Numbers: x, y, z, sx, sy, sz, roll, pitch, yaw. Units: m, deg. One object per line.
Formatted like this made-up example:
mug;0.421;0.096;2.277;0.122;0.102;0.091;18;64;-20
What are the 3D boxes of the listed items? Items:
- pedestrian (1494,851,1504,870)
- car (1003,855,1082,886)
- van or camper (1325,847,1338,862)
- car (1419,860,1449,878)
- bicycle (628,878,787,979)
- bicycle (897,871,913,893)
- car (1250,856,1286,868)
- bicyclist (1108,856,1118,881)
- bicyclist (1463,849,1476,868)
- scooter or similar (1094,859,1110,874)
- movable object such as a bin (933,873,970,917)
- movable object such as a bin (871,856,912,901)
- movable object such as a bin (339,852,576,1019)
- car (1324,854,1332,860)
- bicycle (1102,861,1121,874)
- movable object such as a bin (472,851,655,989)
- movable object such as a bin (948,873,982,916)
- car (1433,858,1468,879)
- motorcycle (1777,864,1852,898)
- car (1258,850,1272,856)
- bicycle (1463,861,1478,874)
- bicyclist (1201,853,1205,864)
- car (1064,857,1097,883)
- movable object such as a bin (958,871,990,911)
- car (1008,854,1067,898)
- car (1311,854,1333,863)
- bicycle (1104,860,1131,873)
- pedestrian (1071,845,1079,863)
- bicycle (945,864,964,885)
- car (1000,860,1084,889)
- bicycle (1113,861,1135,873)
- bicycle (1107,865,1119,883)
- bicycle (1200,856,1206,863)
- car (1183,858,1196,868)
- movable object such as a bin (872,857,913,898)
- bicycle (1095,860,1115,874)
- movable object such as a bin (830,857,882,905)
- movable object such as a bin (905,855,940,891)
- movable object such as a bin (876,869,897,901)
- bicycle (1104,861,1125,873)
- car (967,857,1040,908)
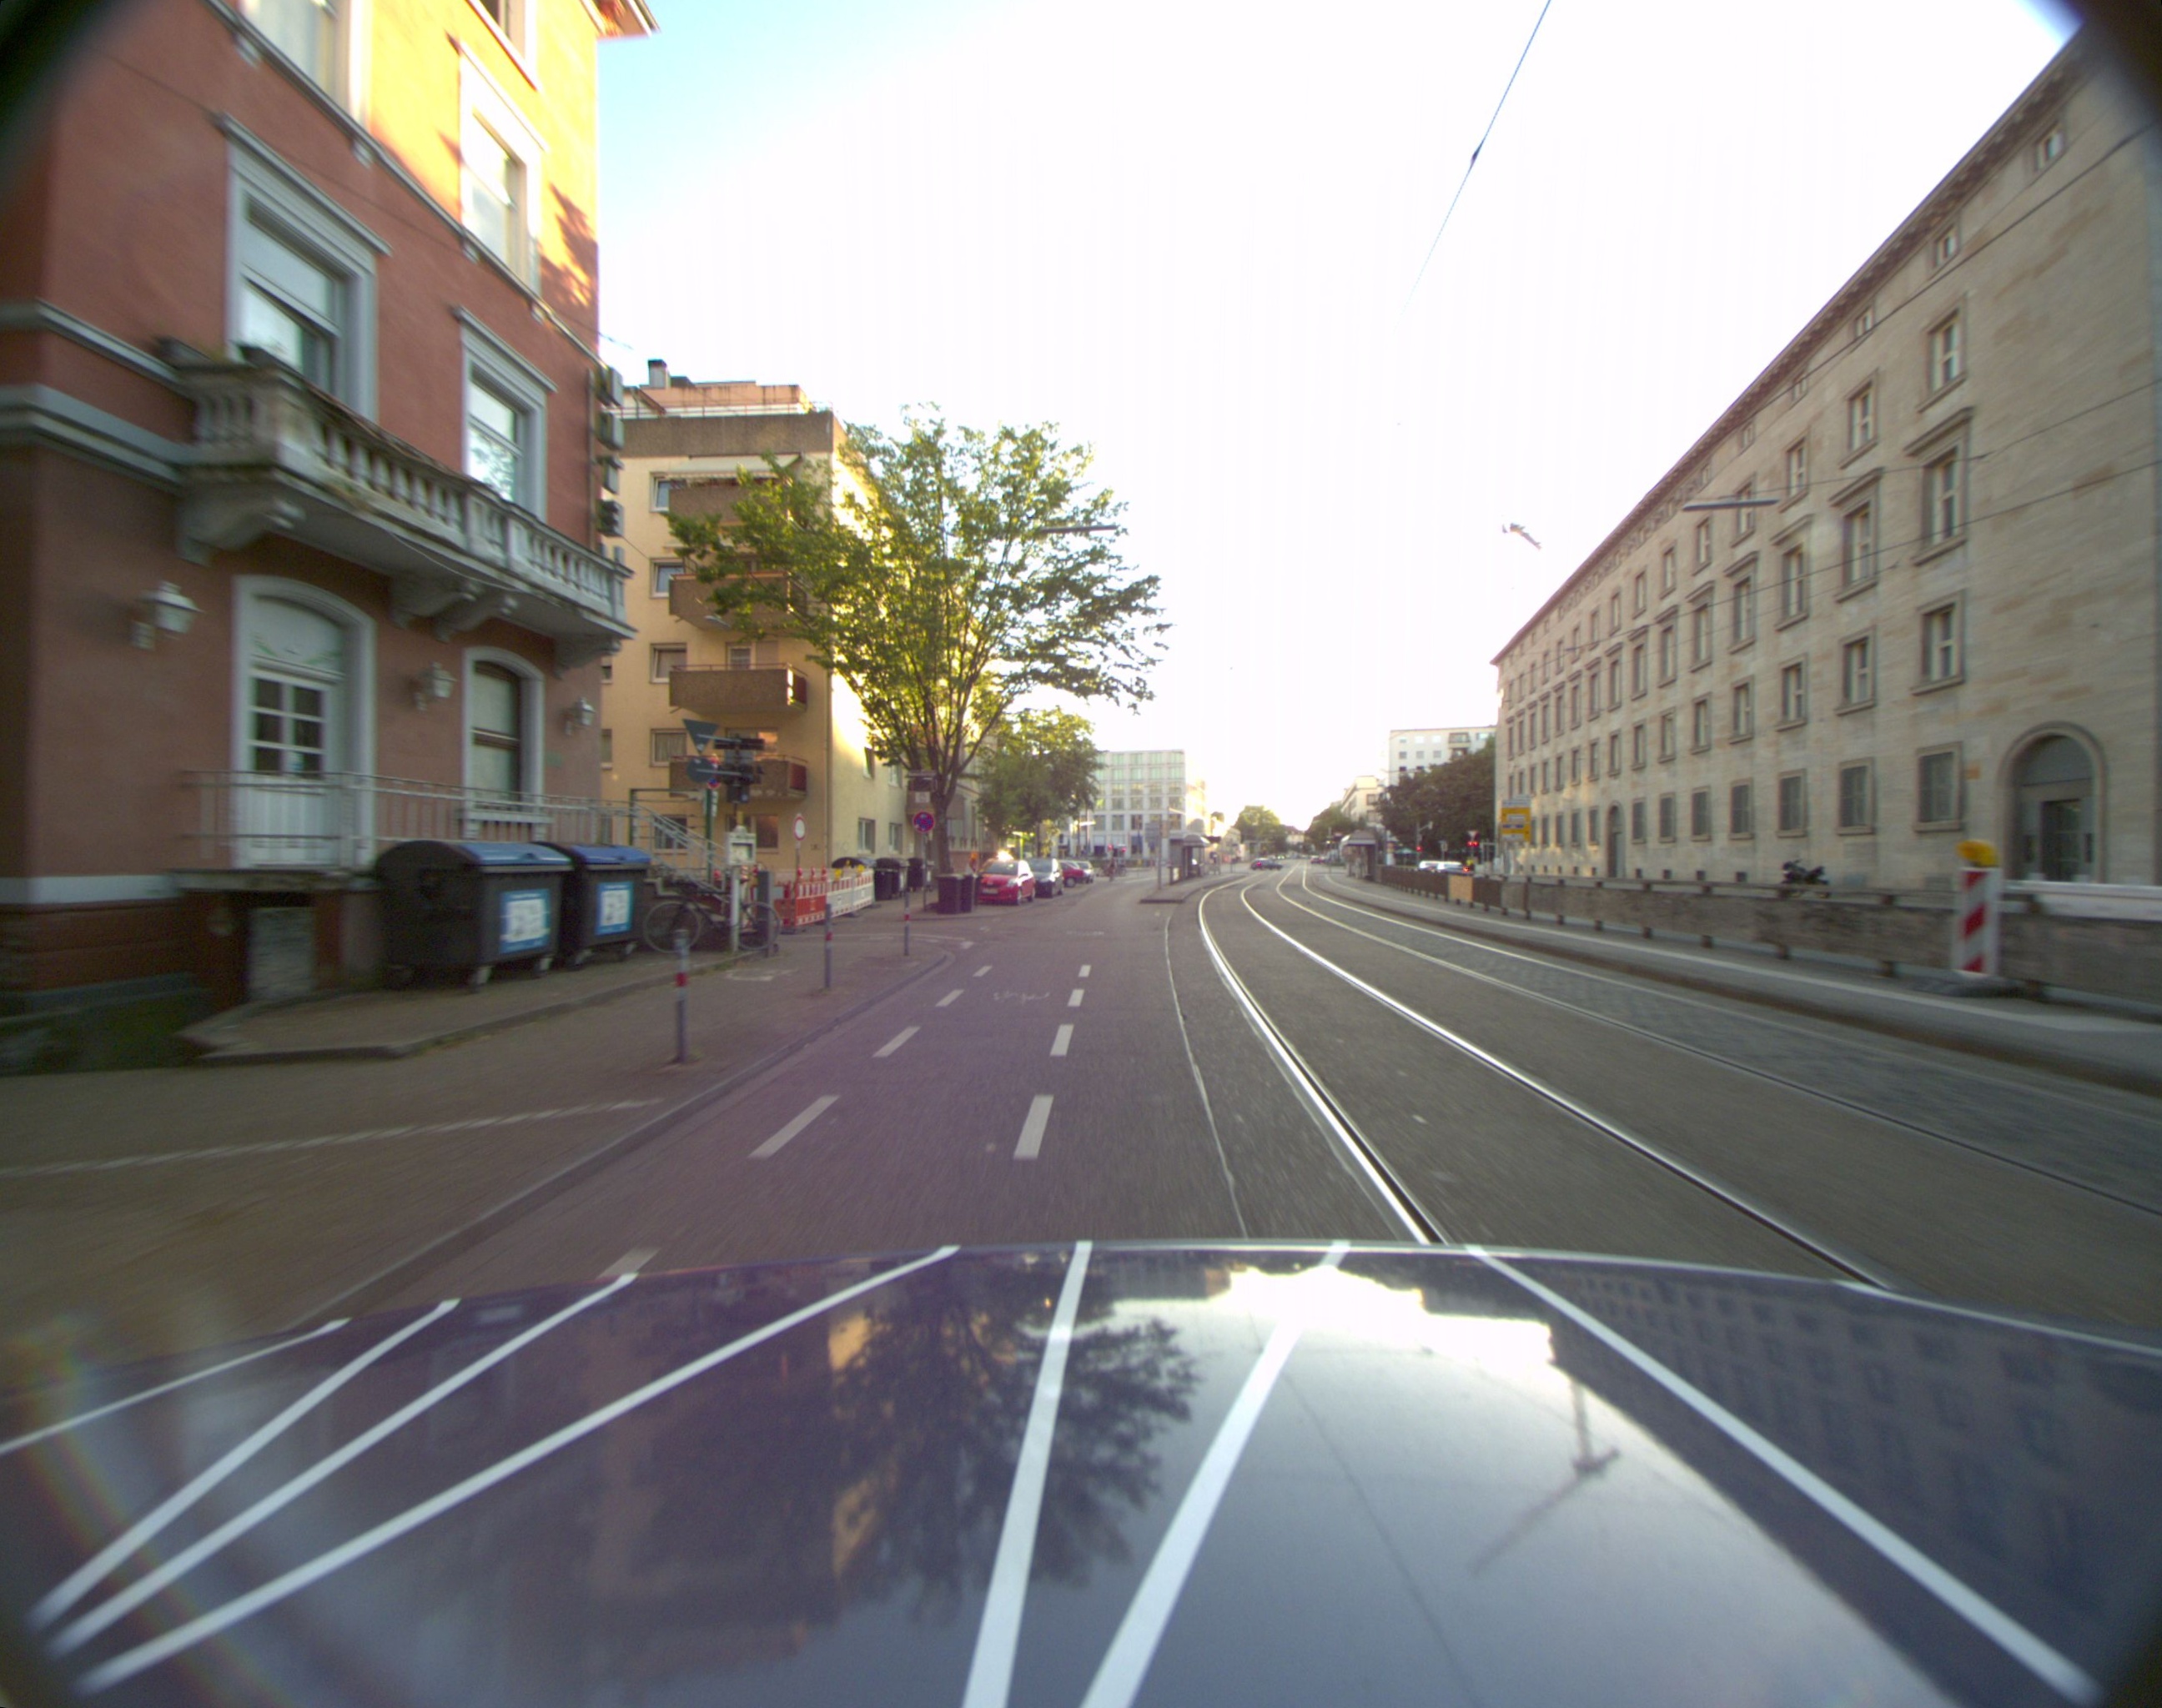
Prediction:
pedestrian;37.159;0.566;67.597;0.696;1.700;0.647;0;1;19
car;-2.218;0.921;43.860;4.216;1.715;1.718;-1;0;-26
van or camper;46.837;0.131;141.998;2.107;2.665;4.718;-1;-2;18
car;28.531;1.199;61.497;1.645;1.419;4.237;0;0;16
bicycle;-5.129;0.976;10.479;1.922;1.259;0.600;0;1;-31
bicycle;-7.158;1.136;30.897;0.414;0.859;1.225;0;0;-2
car;23.391;1.000;95.143;4.176;1.412;1.696;0;1;-17
bicyclist;2.102;0.931;49.348;0.609;1.626;0.597;0;0;7
bicyclist;29.548;0.322;57.758;0.757;1.432;0.598;0;0;17
scooter or similar;1.730;1.041;63.819;1.201;1.218;0.591;2;1;17
movable object such as a bin;-3.470;1.101;20.435;0.794;1.147;0.589;0;0;15
movable object such as a bin;-6.605;0.841;26.545;1.074;1.493;1.319;-1;0;1
movable object such as a bin;-6.050;0.733;7.506;1.143;1.493;1.399;-1;0;3
car;60.439;0.708;185.961;1.719;1.422;3.815;0;0;20
bicycle;2.646;1.187;66.033;1.553;1.068;0.745;0;0;18
movable object such as a bin;-6.005;0.716;8.933;1.143;1.493;1.399;-1;0;3
movable object such as a bin;-3.214;1.111;21.088;0.713;1.147;0.589;-1;0;15
car;26.880;1.033;55.371;1.645;1.419;3.710;0;0;16
motorcycle;25.169;0.887;26.139;0.699;1.068;2.657;0;0;16
car;52.019;-0.276;214.759;3.802;1.639;1.866;0;0;16
bicycle;29.464;1.021;57.468;0.742;1.011;1.763;0;0;17
bicyclist;18.172;0.715;113.446;0.540;1.626;0.598;0;1;17
car;-0.012;1.035;49.780;1.683;1.544;4.002;3;0;6
movable object such as a bin;-3.181;1.080;22.603;0.624;1.147;0.714;-1;1;-44
car;-1.726;0.859;31.346;1.747;1.622;4.090;2;0;6
car;48.287;0.916;152.438;1.889;1.654;4.337;0;0;-23
bicycle;3.283;1.141;68.448;2.232;1.125;0.745;1;1;18
pedestrian;-0.615;-0.028;74.238;0.708;1.757;0.989;0;0;1
bicycle;-6.634;1.083;39.938;0.652;1.068;1.556;-1;0;3
car;-2.106;1.057;41.135;4.216;1.445;1.642;-1;0;-27
bicycle;3.918;1.170;69.309;1.860;1.068;0.746;0;0;34
bicycle;2.087;1.257;49.034;0.609;1.108;2.087;0;0;7
bicycle;18.281;0.820;113.812;0.539;1.045;1.763;0;0;17
car;16.834;1.423;118.063;1.815;1.513;4.813;-2;-1;7
movable object such as a bin;-6.973;0.859;28.219;1.143;1.493;1.271;-1;0;3
bicycle;2.027;1.133;65.076;1.528;1.156;0.745;-1;0;18
movable object such as a bin;-7.215;0.840;24.468;1.143;1.493;1.598;-1;0;3
movable object such as a bin;-6.766;0.791;32.559;1.116;1.493;1.482;-1;0;3
movable object such as a bin;-6.538;1.040;25.561;0.555;1.041;0.571;-1;0;2
bicycle;2.996;1.155;68.119;1.757;1.068;0.745;0;0;18
car;-2.535;0.898;25.726;1.567;1.527;3.695;2;0;8
